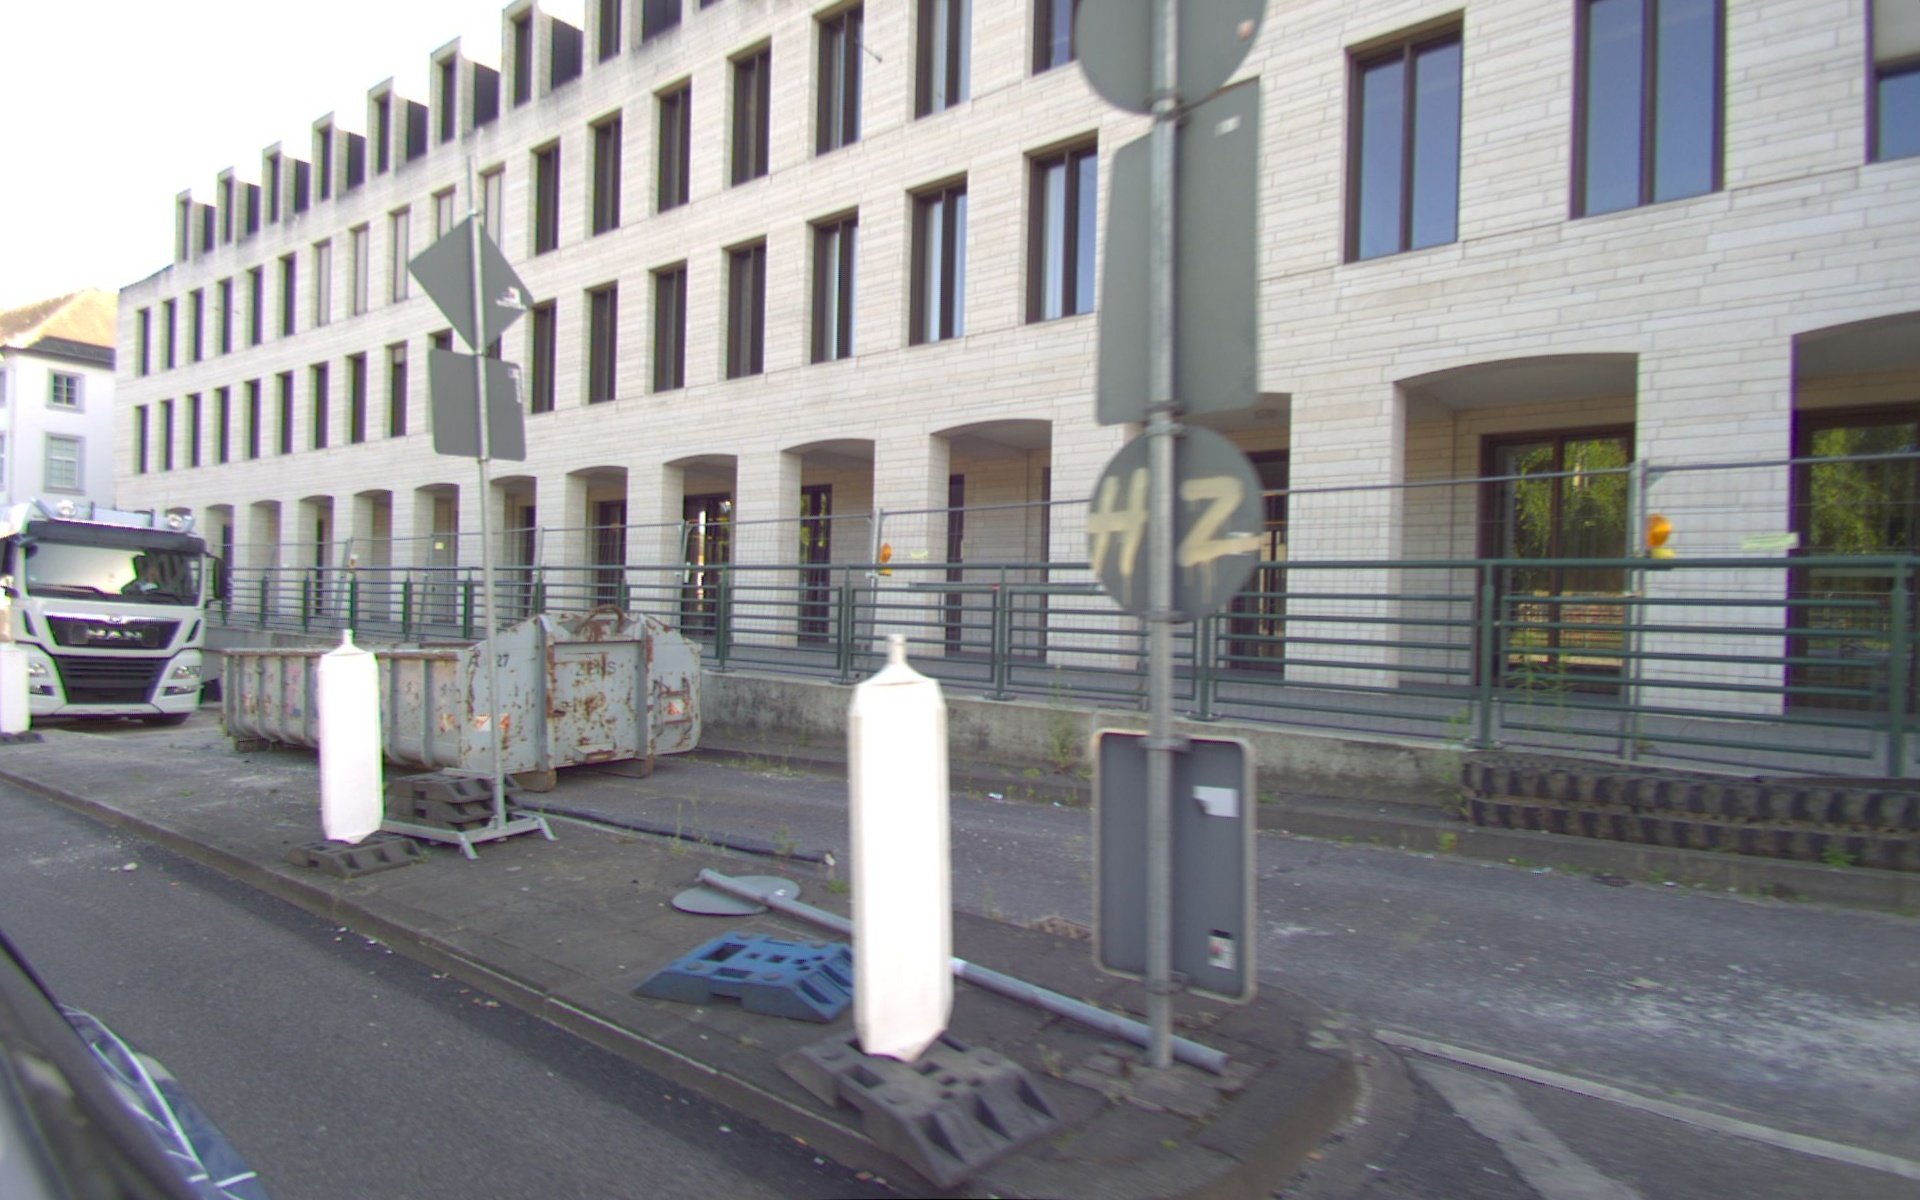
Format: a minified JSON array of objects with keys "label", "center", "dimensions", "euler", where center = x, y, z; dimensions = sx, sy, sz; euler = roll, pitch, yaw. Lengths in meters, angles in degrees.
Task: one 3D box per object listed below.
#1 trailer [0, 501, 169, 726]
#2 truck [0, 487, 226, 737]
[{"label":"trailer","center":[-18.830,0.443,19.880],"dimensions":[8.729,3.697,2.618],"euler":[-3,-6,36]},{"label":"truck","center":[-14.955,0.361,16.989],"dimensions":[5.807,3.516,2.555],"euler":[-3,-6,38]}]
